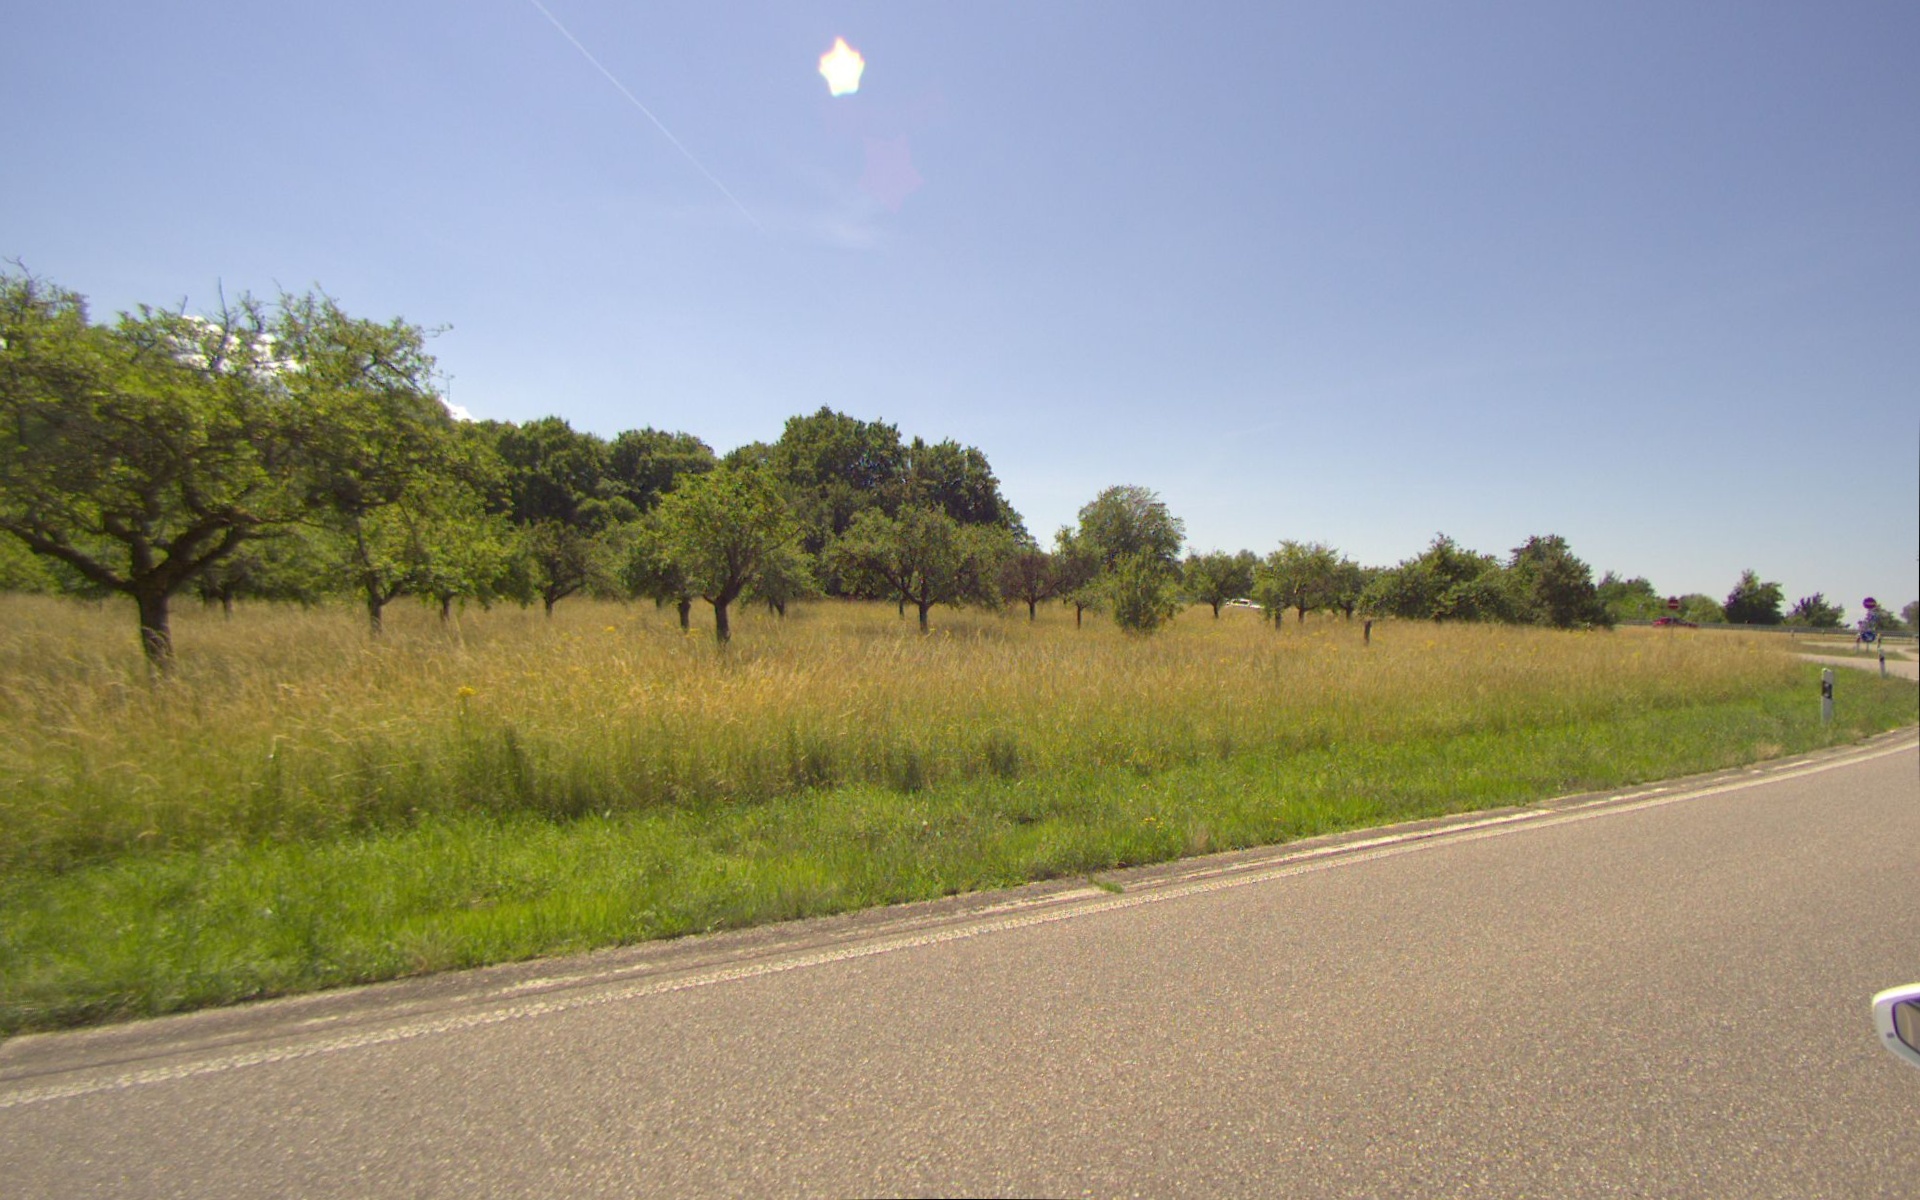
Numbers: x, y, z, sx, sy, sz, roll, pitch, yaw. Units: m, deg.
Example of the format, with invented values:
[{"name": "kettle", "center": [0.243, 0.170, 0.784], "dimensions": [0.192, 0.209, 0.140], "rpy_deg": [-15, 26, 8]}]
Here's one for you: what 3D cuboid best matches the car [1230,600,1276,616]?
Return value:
[{"name": "car", "center": [27.685, 0.765, 94.883], "dimensions": [4.065, 1.443, 1.852], "rpy_deg": [0, 0, 18]}]
